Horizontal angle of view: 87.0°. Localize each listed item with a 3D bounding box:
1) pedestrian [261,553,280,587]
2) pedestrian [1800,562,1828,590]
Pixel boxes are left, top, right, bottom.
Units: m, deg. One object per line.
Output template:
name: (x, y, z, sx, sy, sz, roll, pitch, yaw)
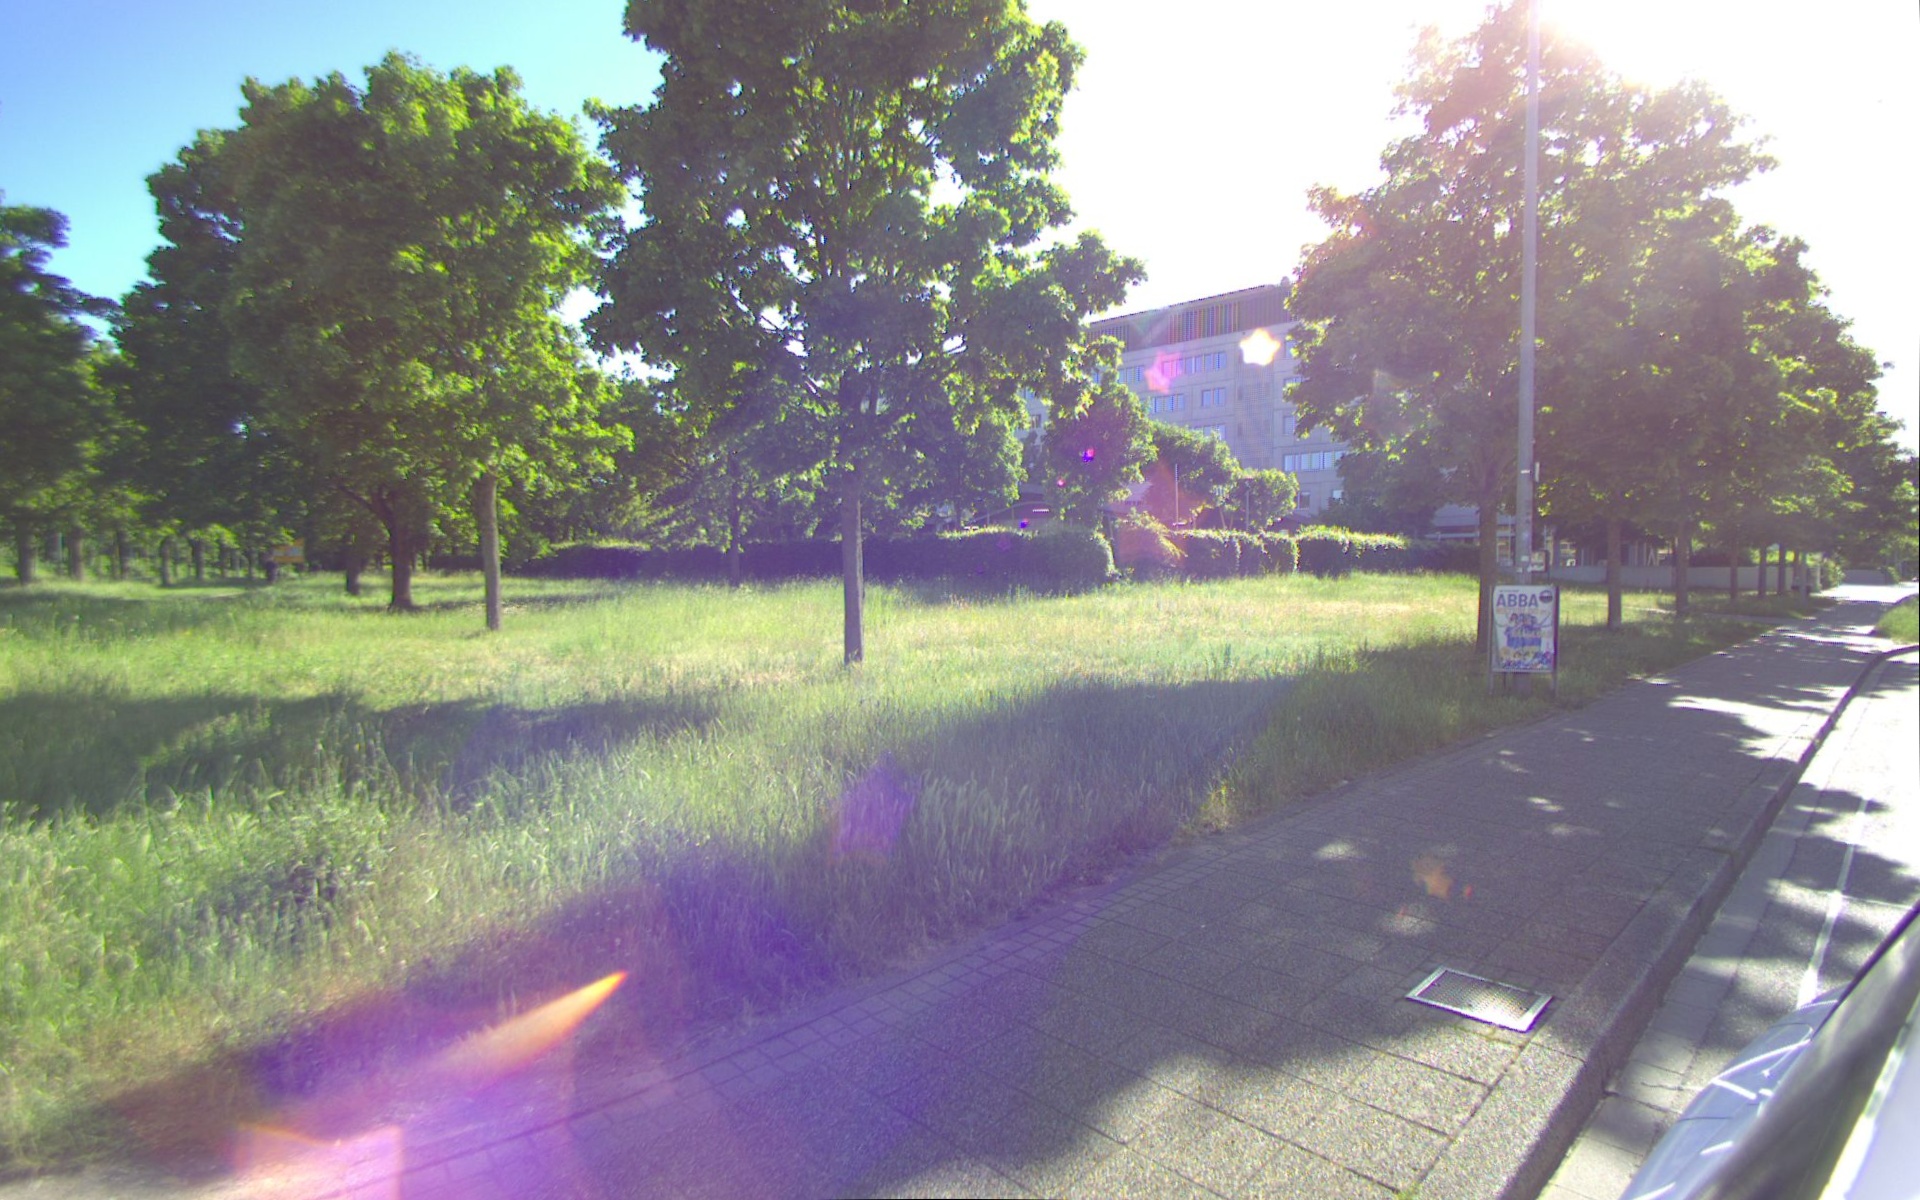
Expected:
pedestrian: (-35.804, -1.539, 52.560, 0.727, 1.748, 0.888, -1, 2, -41)
pedestrian: (38.794, -1.080, 45.981, 0.841, 1.232, 0.720, 2, 3, 33)
